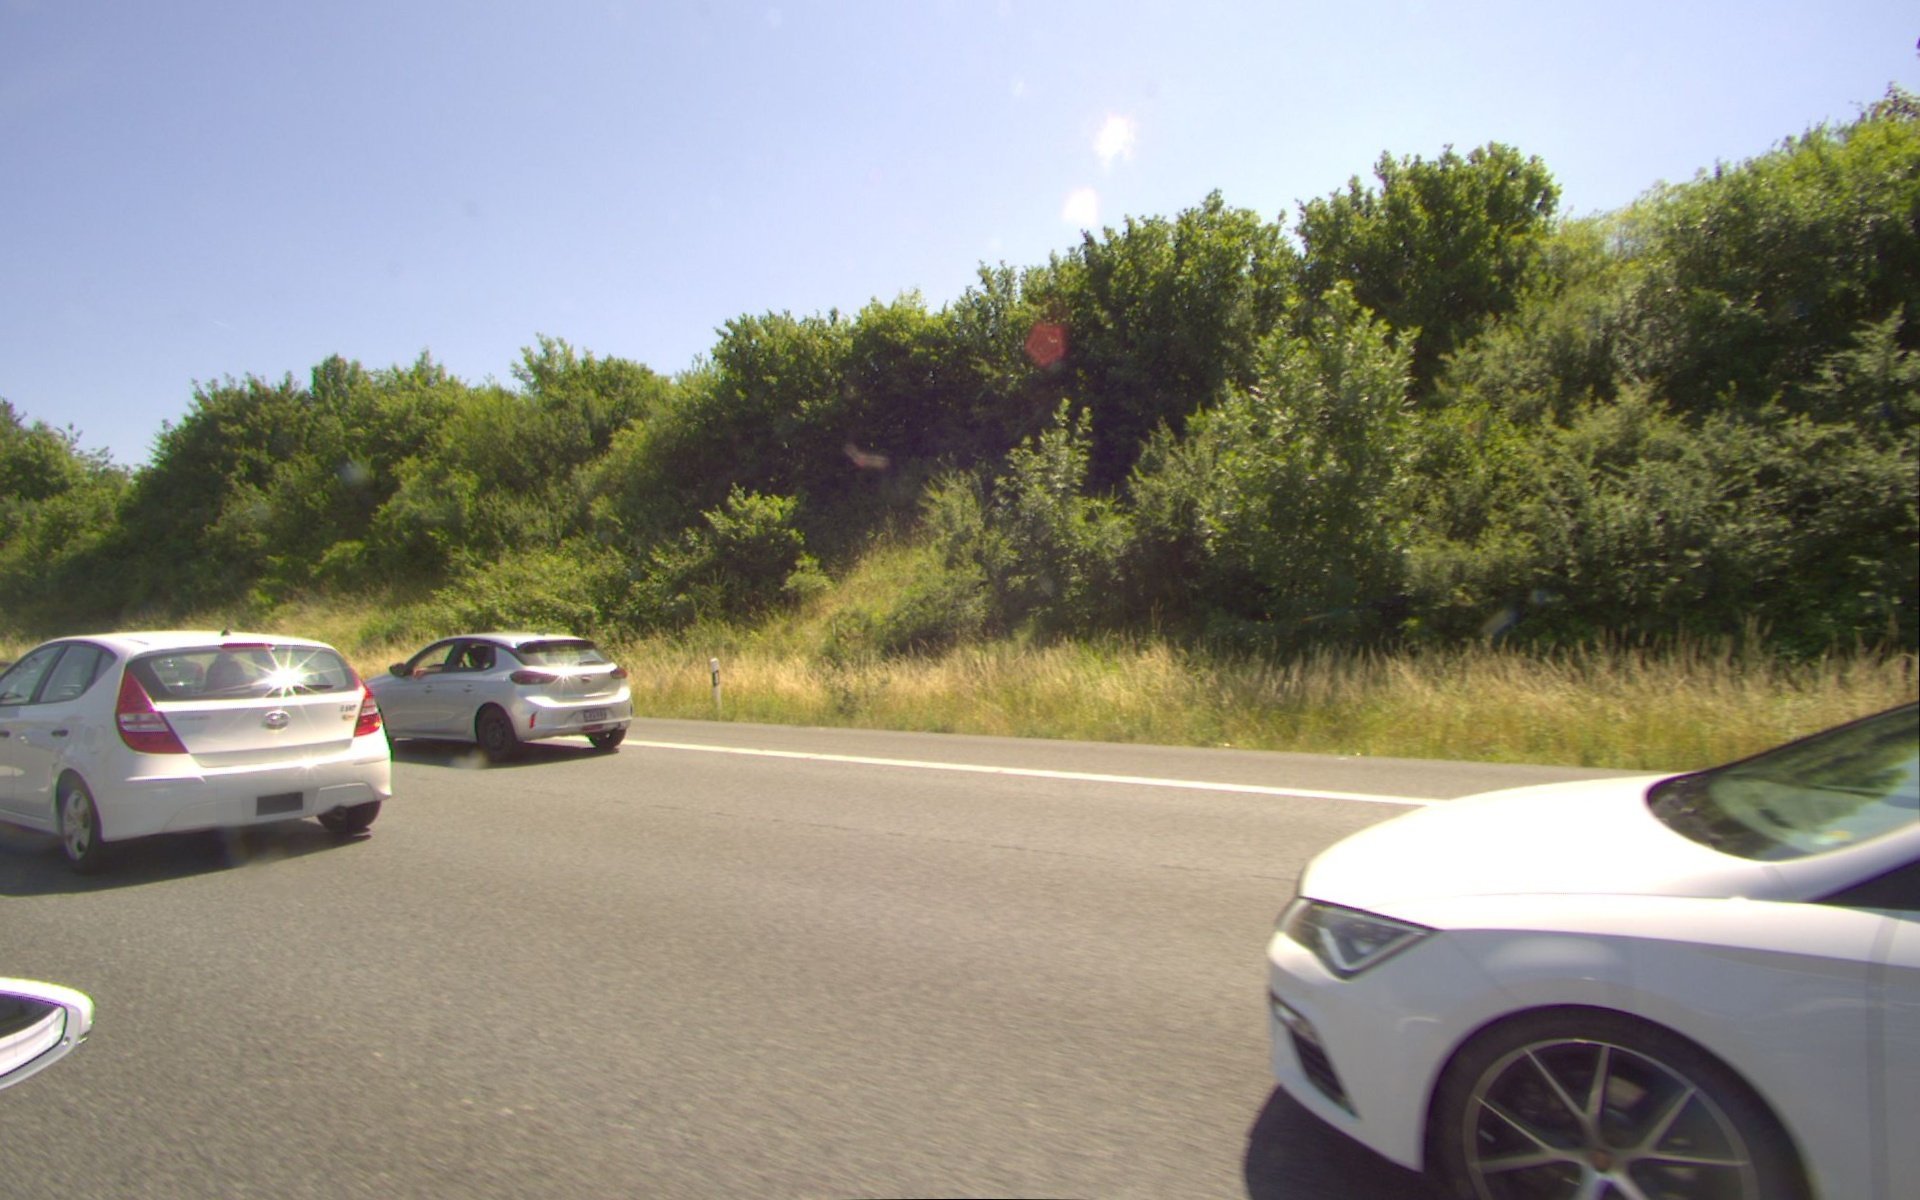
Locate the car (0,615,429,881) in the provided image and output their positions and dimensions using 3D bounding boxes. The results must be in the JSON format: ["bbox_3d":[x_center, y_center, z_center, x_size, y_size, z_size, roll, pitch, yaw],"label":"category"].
[{"bbox_3d":[-5.975,0.910,7.475,3.942,1.504,1.814,-2,-2,31],"label":"car"}]

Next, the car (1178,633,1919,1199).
[{"bbox_3d":[2.819,0.807,2.180,4.251,1.461,1.745,-2,-2,31],"label":"car"}]

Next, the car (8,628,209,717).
[{"bbox_3d":[-15.495,1.270,18.179,3.931,1.435,1.638,-2,-1,31],"label":"car"}]

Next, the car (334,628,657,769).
[{"bbox_3d":[-5.859,1.109,12.535,3.968,1.462,1.728,0,-1,30],"label":"car"}]
